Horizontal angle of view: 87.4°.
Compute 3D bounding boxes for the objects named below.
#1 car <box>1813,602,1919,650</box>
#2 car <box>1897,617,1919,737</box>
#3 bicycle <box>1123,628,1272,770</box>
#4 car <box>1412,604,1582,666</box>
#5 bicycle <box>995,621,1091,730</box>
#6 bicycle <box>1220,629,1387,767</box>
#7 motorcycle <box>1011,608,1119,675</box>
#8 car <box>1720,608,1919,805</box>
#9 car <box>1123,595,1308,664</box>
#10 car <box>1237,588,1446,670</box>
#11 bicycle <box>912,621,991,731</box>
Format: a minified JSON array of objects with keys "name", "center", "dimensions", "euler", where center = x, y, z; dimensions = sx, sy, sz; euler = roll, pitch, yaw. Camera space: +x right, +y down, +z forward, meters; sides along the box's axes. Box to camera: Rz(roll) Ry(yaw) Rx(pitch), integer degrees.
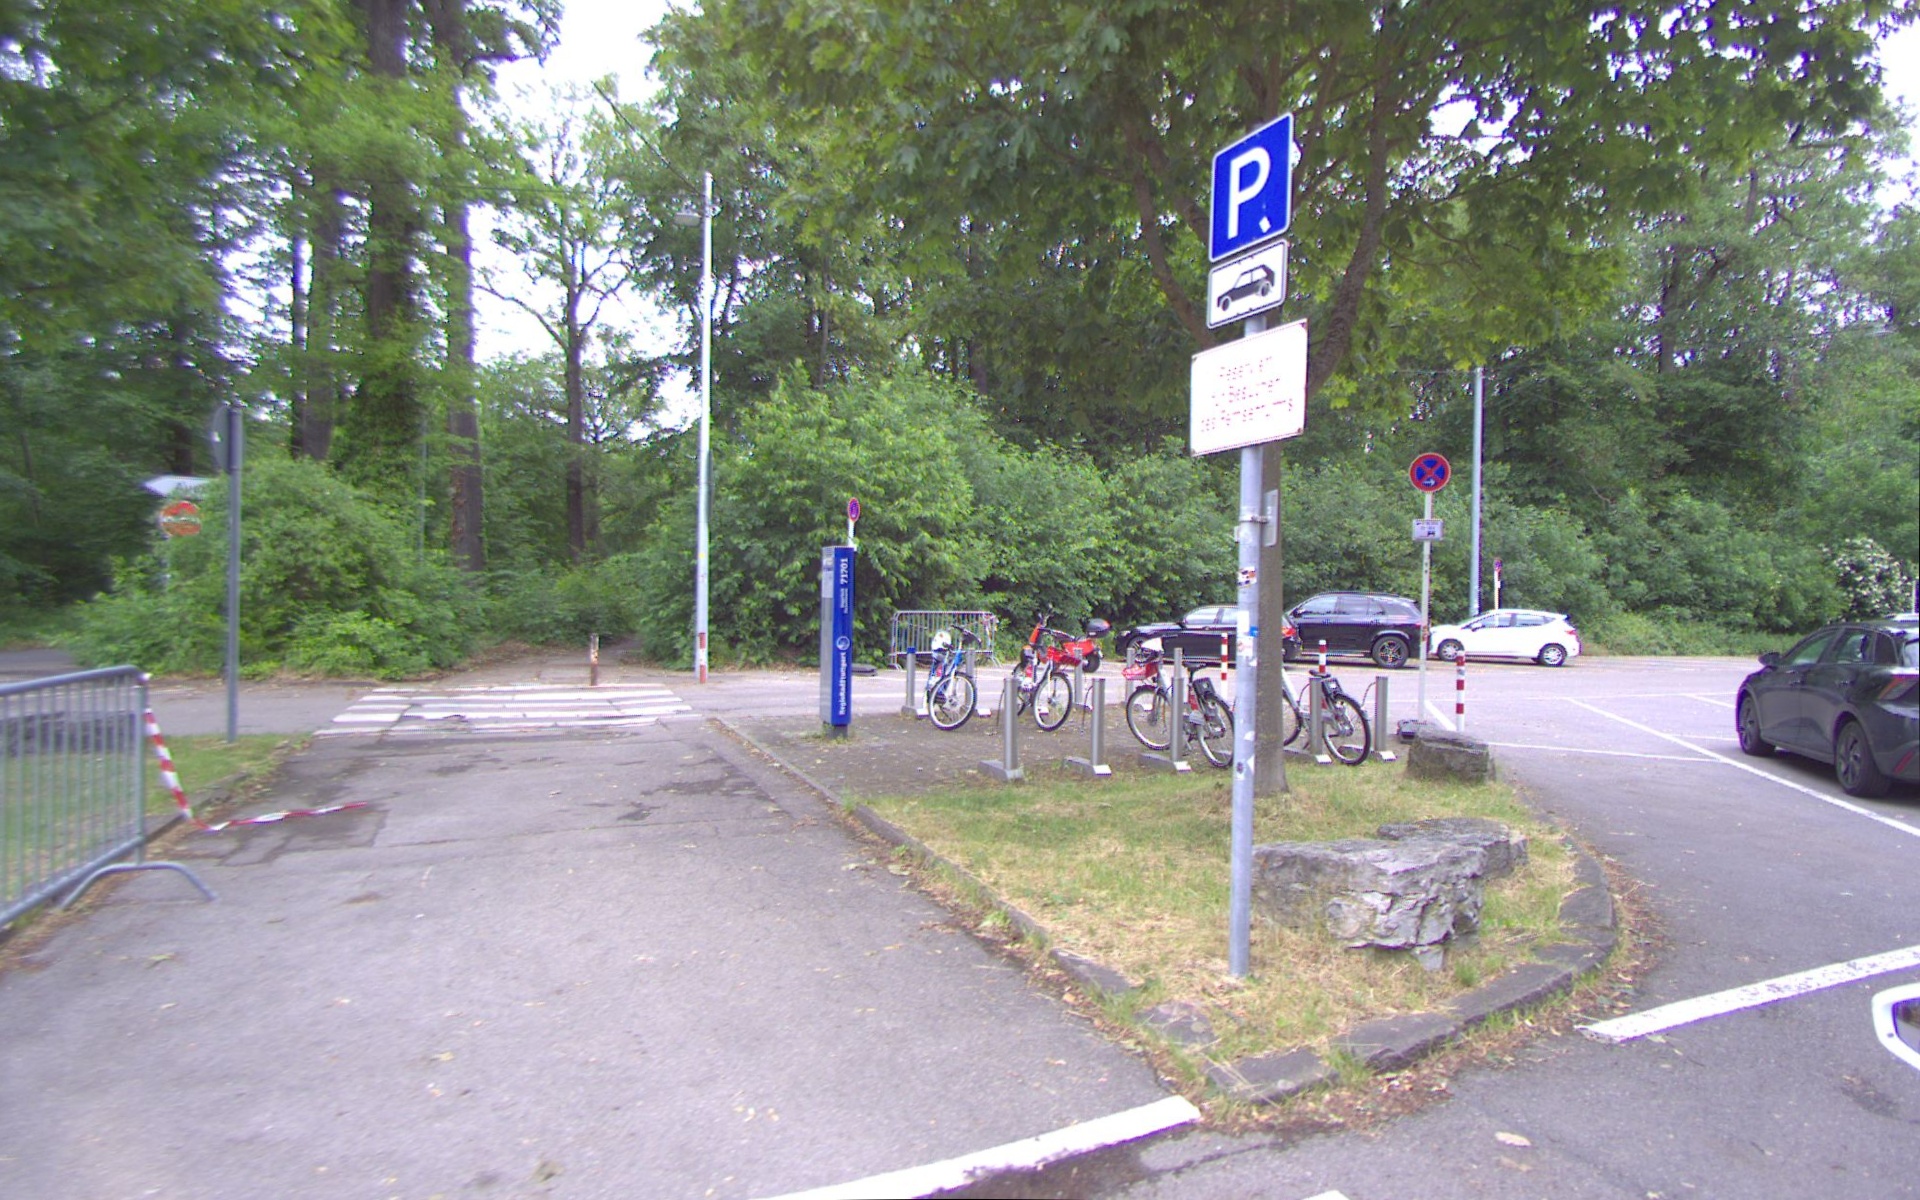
[{"name":"car","center":[35.149,0.986,37.953],"dimensions":[3.993,1.707,1.879],"euler":[2,1,23]},{"name":"car","center":[12.433,0.987,10.833],"dimensions":[1.839,1.503,4.000],"euler":[2,0,18]},{"name":"bicycle","center":[2.148,0.863,9.317],"dimensions":[0.475,1.126,1.677],"euler":[1,0,-20]},{"name":"car","center":[14.771,0.925,27.879],"dimensions":[3.922,1.531,1.869],"euler":[1,0,22]},{"name":"bicycle","center":[0.948,0.847,11.843],"dimensions":[0.498,1.126,1.678],"euler":[1,0,-18]},{"name":"bicycle","center":[3.248,0.888,9.681],"dimensions":[0.475,1.126,1.780],"euler":[1,0,-20]},{"name":"motorcycle","center":[2.086,0.810,20.073],"dimensions":[1.994,1.224,0.729],"euler":[2,1,32]},{"name":"car","center":[8.965,0.876,9.550],"dimensions":[1.795,1.543,4.098],"euler":[2,0,23]},{"name":"car","center":[5.926,0.645,23.276],"dimensions":[3.922,1.394,1.739],"euler":[2,0,22]},{"name":"car","center":[9.373,0.659,24.874],"dimensions":[4.617,1.790,2.111],"euler":[1,0,22]},{"name":"bicycle","center":[-0.131,0.841,11.654],"dimensions":[0.475,1.126,1.691],"euler":[1,0,-16]}]
